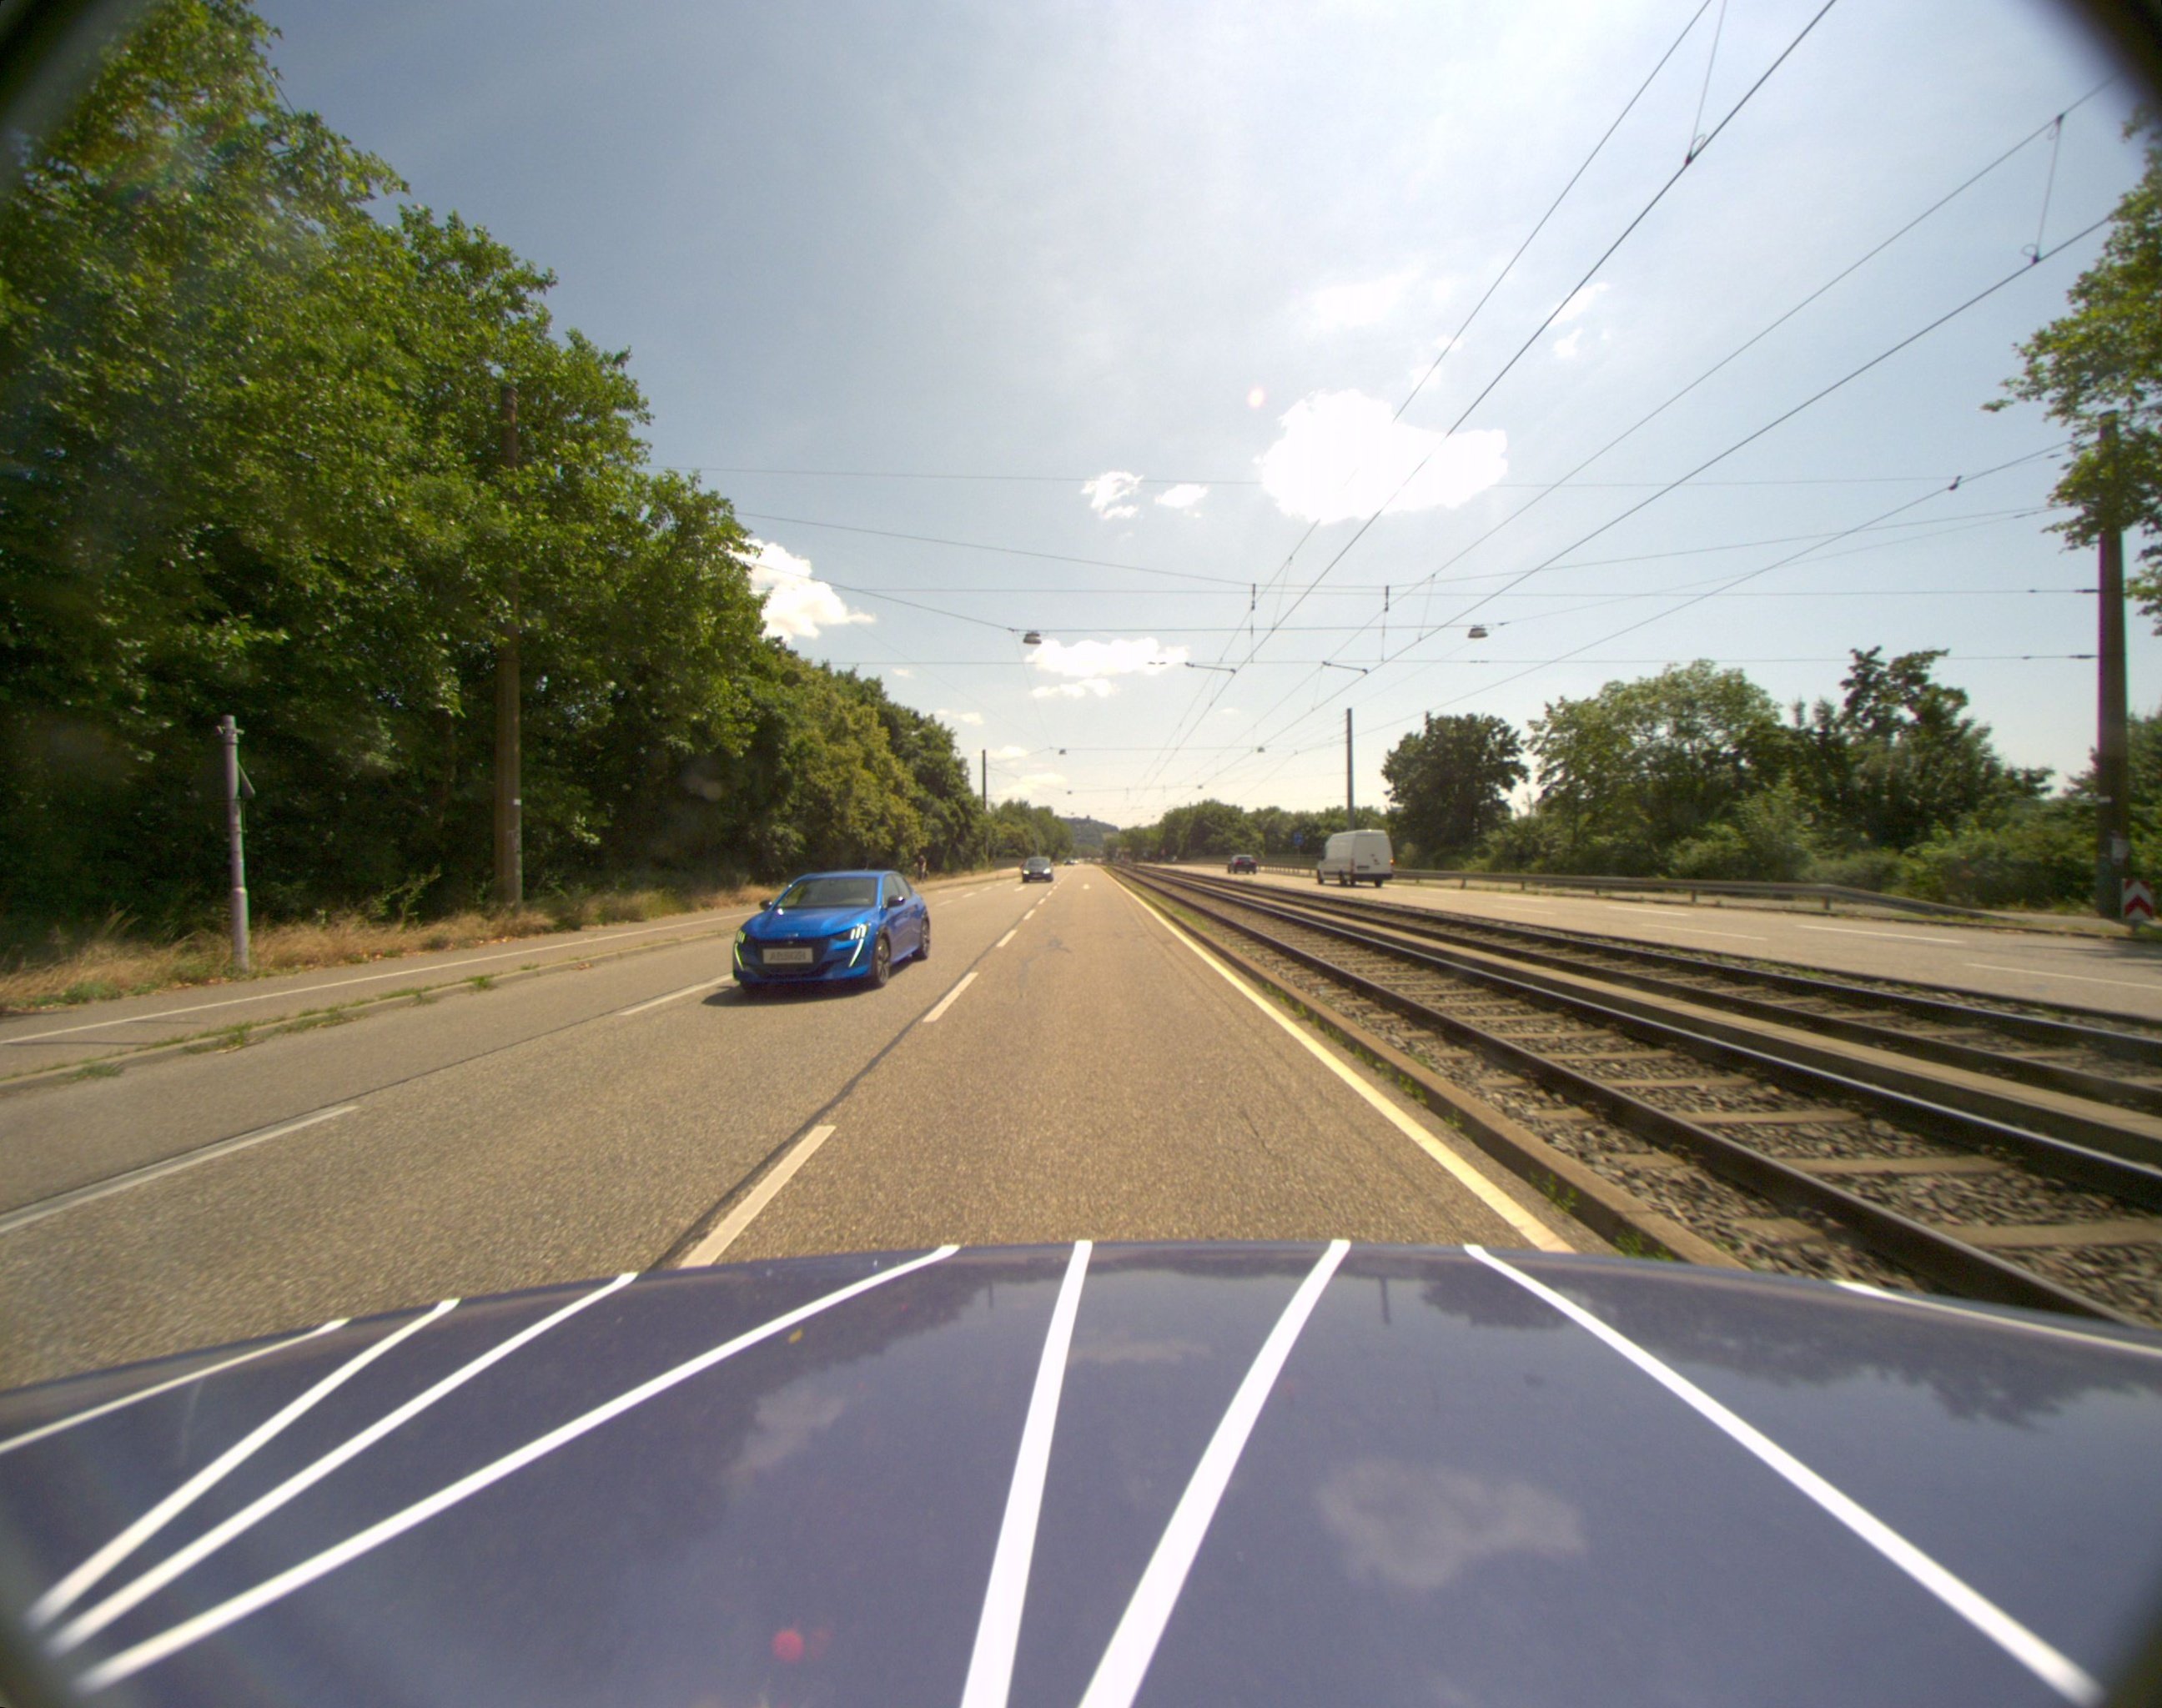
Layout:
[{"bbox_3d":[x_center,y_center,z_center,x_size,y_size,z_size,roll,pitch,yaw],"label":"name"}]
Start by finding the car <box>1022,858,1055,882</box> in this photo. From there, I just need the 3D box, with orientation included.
[{"bbox_3d":[-2.633,0.953,47.511,1.769,1.359,3.743,-2,0,0],"label":"car"}]

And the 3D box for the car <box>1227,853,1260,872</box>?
[{"bbox_3d":[13.642,0.696,64.012,1.822,1.505,4.427,0,0,1],"label":"car"}]

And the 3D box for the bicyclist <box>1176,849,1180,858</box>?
[{"bbox_3d":[19.704,-0.098,154.544,0.765,1.612,0.838,-2,1,0],"label":"bicyclist"}]

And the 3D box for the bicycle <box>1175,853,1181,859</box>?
[{"bbox_3d":[19.722,0.342,154.369,0.859,1.178,2.062,-2,0,0],"label":"bicycle"}]

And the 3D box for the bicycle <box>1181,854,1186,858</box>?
[{"bbox_3d":[19.338,0.345,143.193,0.524,0.838,2.036,-3,0,-1],"label":"bicycle"}]

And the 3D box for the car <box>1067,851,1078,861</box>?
[{"bbox_3d":[-1.650,0.341,147.034,1.999,2.002,3.999,-1,0,0],"label":"car"}]

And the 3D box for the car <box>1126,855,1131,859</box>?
[{"bbox_3d":[16.186,0.971,259.951,1.715,1.412,4.624,0,0,1],"label":"car"}]

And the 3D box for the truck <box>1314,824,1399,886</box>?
[{"bbox_3d":[13.975,0.033,39.020,2.059,2.922,6.319,0,0,1],"label":"truck"}]

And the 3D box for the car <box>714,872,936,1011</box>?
[{"bbox_3d":[-3.222,1.031,10.386,1.660,1.397,3.744,-2,0,1],"label":"car"}]

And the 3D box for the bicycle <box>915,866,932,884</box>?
[{"bbox_3d":[-9.284,1.224,44.804,0.561,1.018,1.848,0,1,1],"label":"bicycle"}]

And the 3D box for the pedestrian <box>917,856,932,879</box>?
[{"bbox_3d":[-9.251,0.787,44.817,0.629,1.366,1.050,0,1,1],"label":"pedestrian"}]
